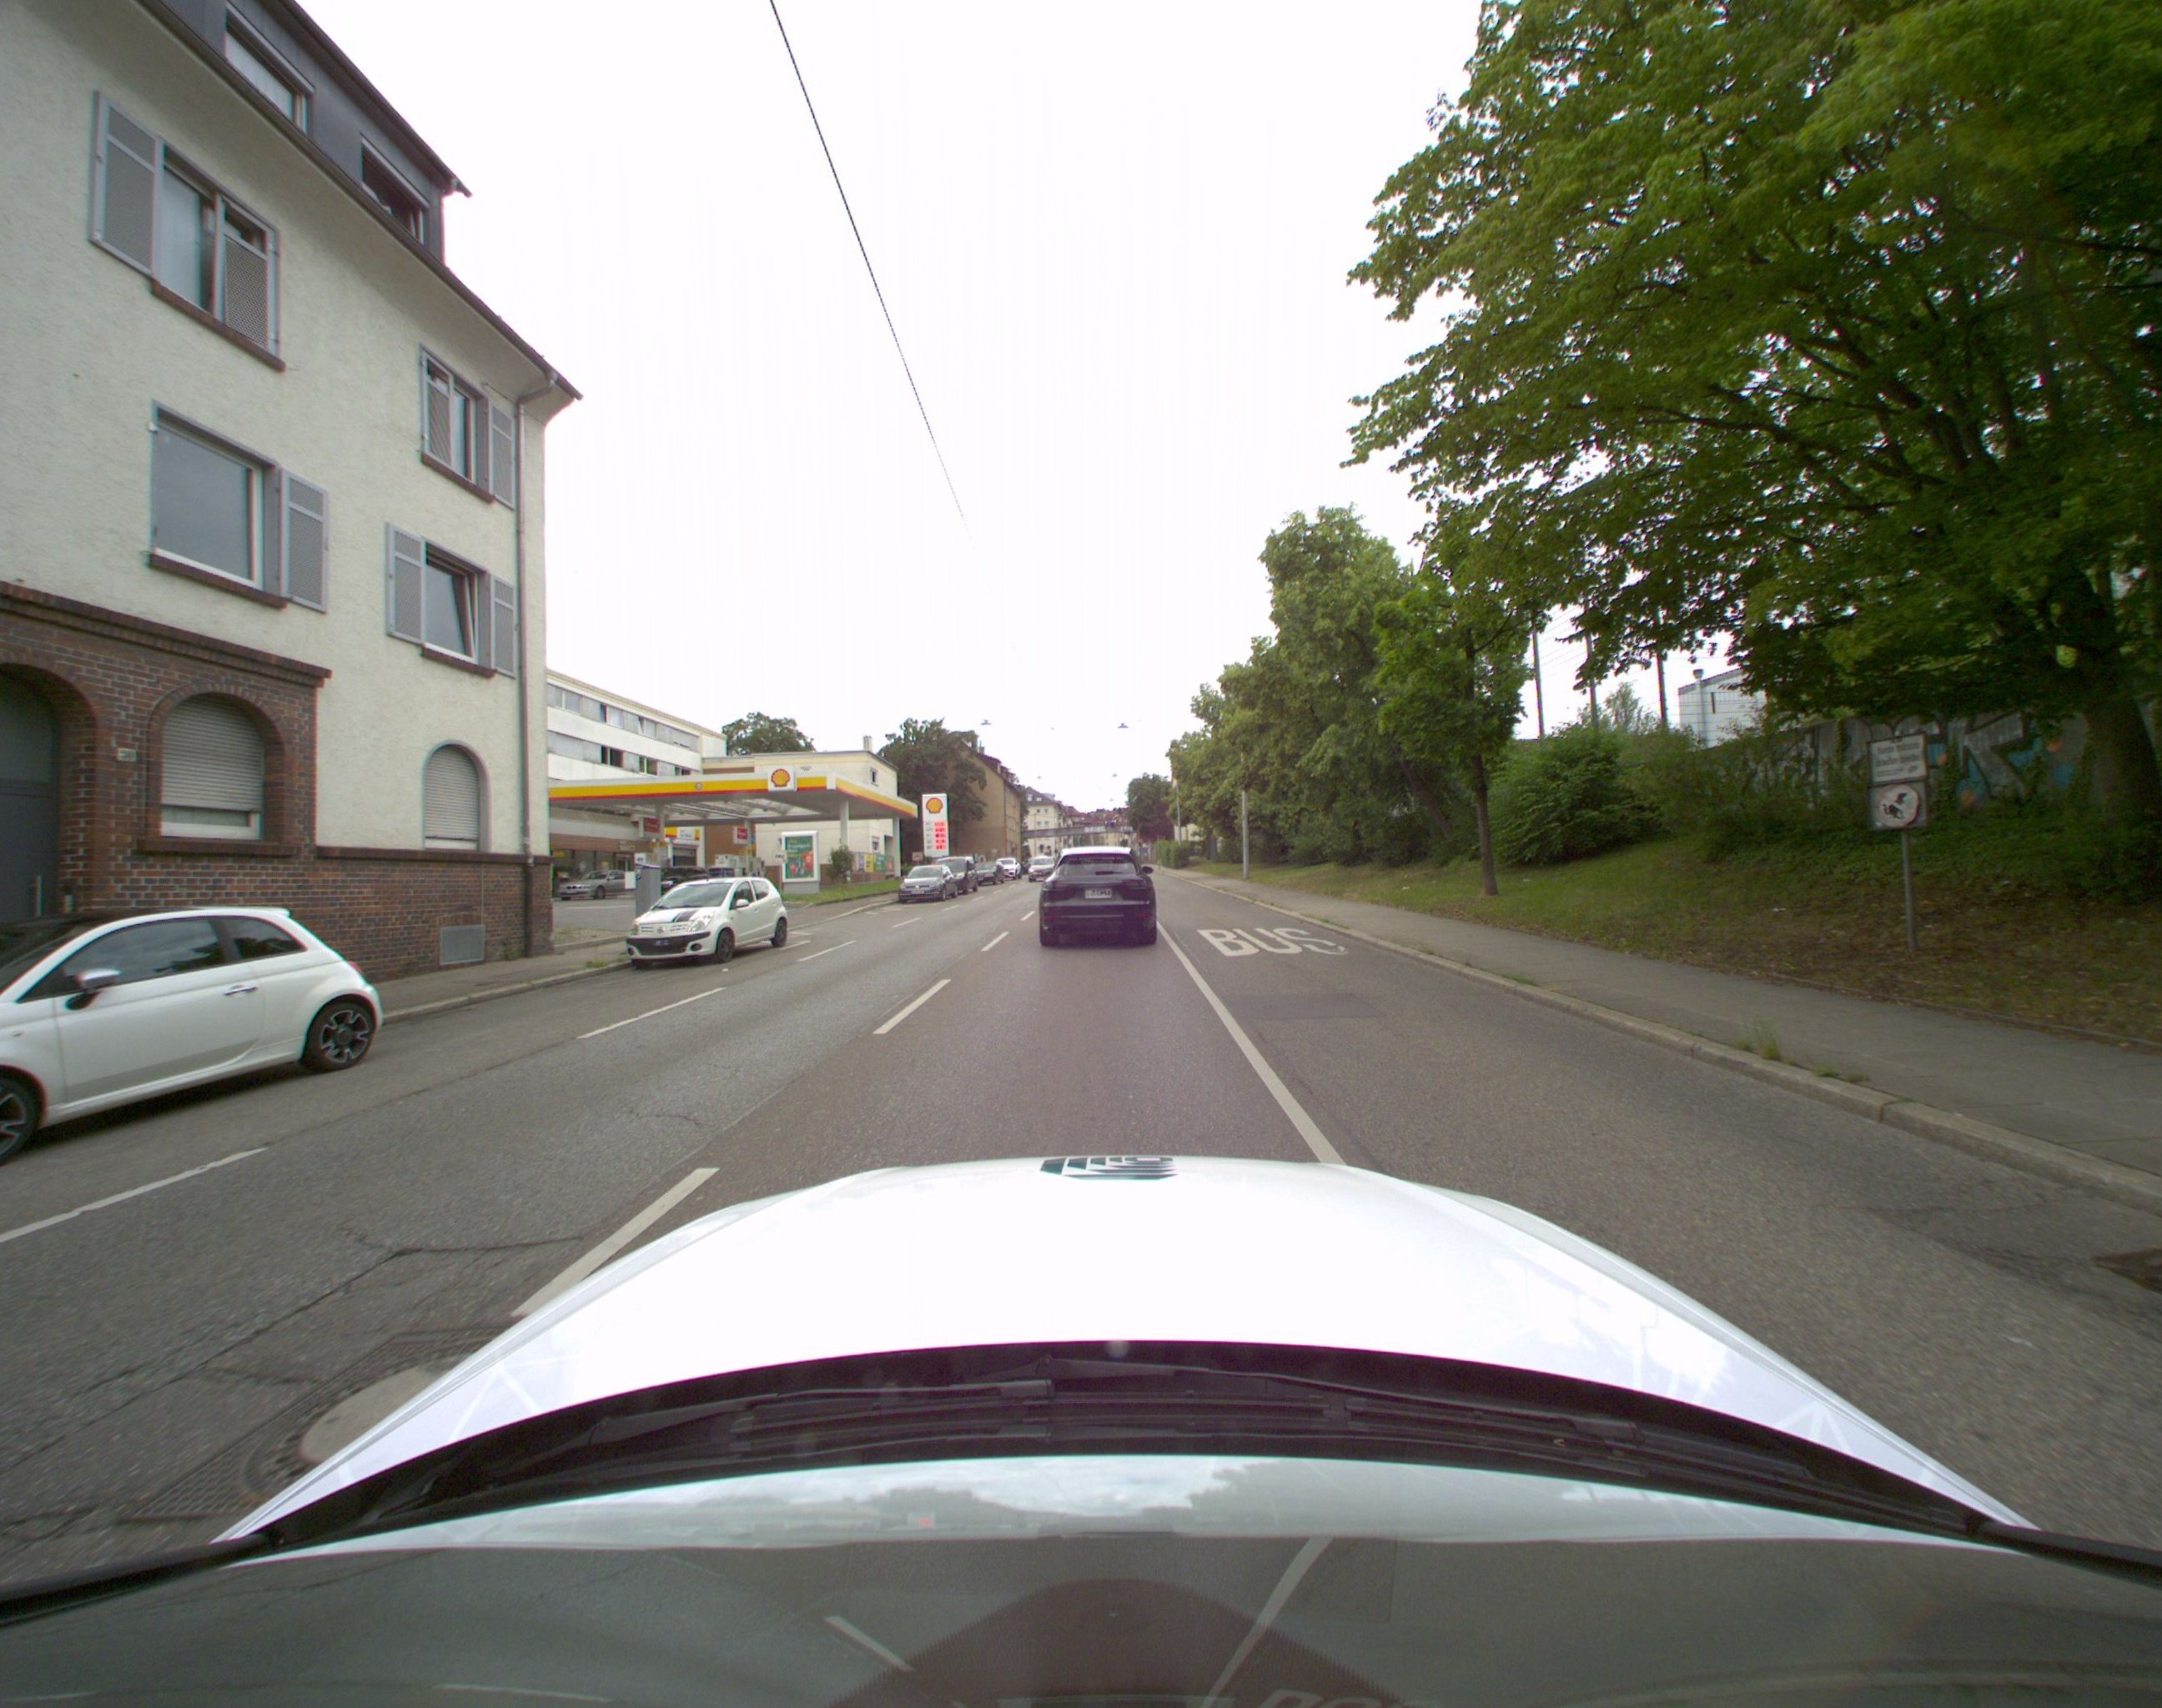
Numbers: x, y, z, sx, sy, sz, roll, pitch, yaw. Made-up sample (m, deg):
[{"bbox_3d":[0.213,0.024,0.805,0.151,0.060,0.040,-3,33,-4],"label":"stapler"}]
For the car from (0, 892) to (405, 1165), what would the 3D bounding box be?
[{"bbox_3d":[-7.139,1.129,5.787,1.542,1.475,3.605,-3,0,1],"label":"car"}]

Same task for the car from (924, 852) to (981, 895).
[{"bbox_3d":[-6.046,0.885,38.767,1.845,1.835,4.701,-3,0,0],"label":"car"}]

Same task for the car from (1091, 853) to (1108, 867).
[{"bbox_3d":[2.067,0.664,90.414,1.734,1.400,4.002,-2,0,2],"label":"car"}]

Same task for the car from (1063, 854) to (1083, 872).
[{"bbox_3d":[-0.765,0.805,76.564,1.677,1.555,3.719,-3,0,1],"label":"car"}]

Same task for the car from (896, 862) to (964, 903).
[{"bbox_3d":[-6.101,1.117,33.276,1.784,1.450,4.220,-3,0,2],"label":"car"}]

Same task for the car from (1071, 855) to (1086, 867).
[{"bbox_3d":[-0.295,0.870,108.860,1.771,1.466,4.501,-3,0,2],"label":"car"}]

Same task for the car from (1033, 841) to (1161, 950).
[{"bbox_3d":[0.326,0.643,14.909,1.986,1.662,4.002,-2,0,2],"label":"car"}]

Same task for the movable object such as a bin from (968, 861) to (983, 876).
[{"bbox_3d":[-10.252,1.408,78.884,1.278,1.428,1.278,-1,0,-3],"label":"movable object such as a bin"}]

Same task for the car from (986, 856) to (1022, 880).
[{"bbox_3d":[-5.543,0.953,59.169,1.908,1.577,4.702,-3,0,2],"label":"car"}]

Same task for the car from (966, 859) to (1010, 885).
[{"bbox_3d":[-5.685,1.071,50.233,1.790,1.431,4.748,-3,0,4],"label":"car"}]

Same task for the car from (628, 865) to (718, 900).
[{"bbox_3d":[-18.740,1.257,37.649,1.791,1.420,4.418,-1,0,2],"label":"car"}]

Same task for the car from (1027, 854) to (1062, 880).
[{"bbox_3d":[-2.286,0.796,51.807,1.791,1.525,4.002,-3,0,2],"label":"car"}]

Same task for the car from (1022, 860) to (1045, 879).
[{"bbox_3d":[-4.705,1.509,80.999,1.776,1.609,4.268,-4,0,3],"label":"car"}]

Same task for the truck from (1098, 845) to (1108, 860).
[{"bbox_3d":[5.224,-0.379,194.400,2.258,3.424,9.881,-2,0,2],"label":"truck"}]

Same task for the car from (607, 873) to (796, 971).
[{"bbox_3d":[-6.838,1.146,15.117,1.613,1.425,3.667,-3,0,2],"label":"car"}]

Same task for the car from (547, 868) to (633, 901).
[{"bbox_3d":[-23.542,1.451,39.196,1.791,1.420,3.637,-1,0,2],"label":"car"}]
